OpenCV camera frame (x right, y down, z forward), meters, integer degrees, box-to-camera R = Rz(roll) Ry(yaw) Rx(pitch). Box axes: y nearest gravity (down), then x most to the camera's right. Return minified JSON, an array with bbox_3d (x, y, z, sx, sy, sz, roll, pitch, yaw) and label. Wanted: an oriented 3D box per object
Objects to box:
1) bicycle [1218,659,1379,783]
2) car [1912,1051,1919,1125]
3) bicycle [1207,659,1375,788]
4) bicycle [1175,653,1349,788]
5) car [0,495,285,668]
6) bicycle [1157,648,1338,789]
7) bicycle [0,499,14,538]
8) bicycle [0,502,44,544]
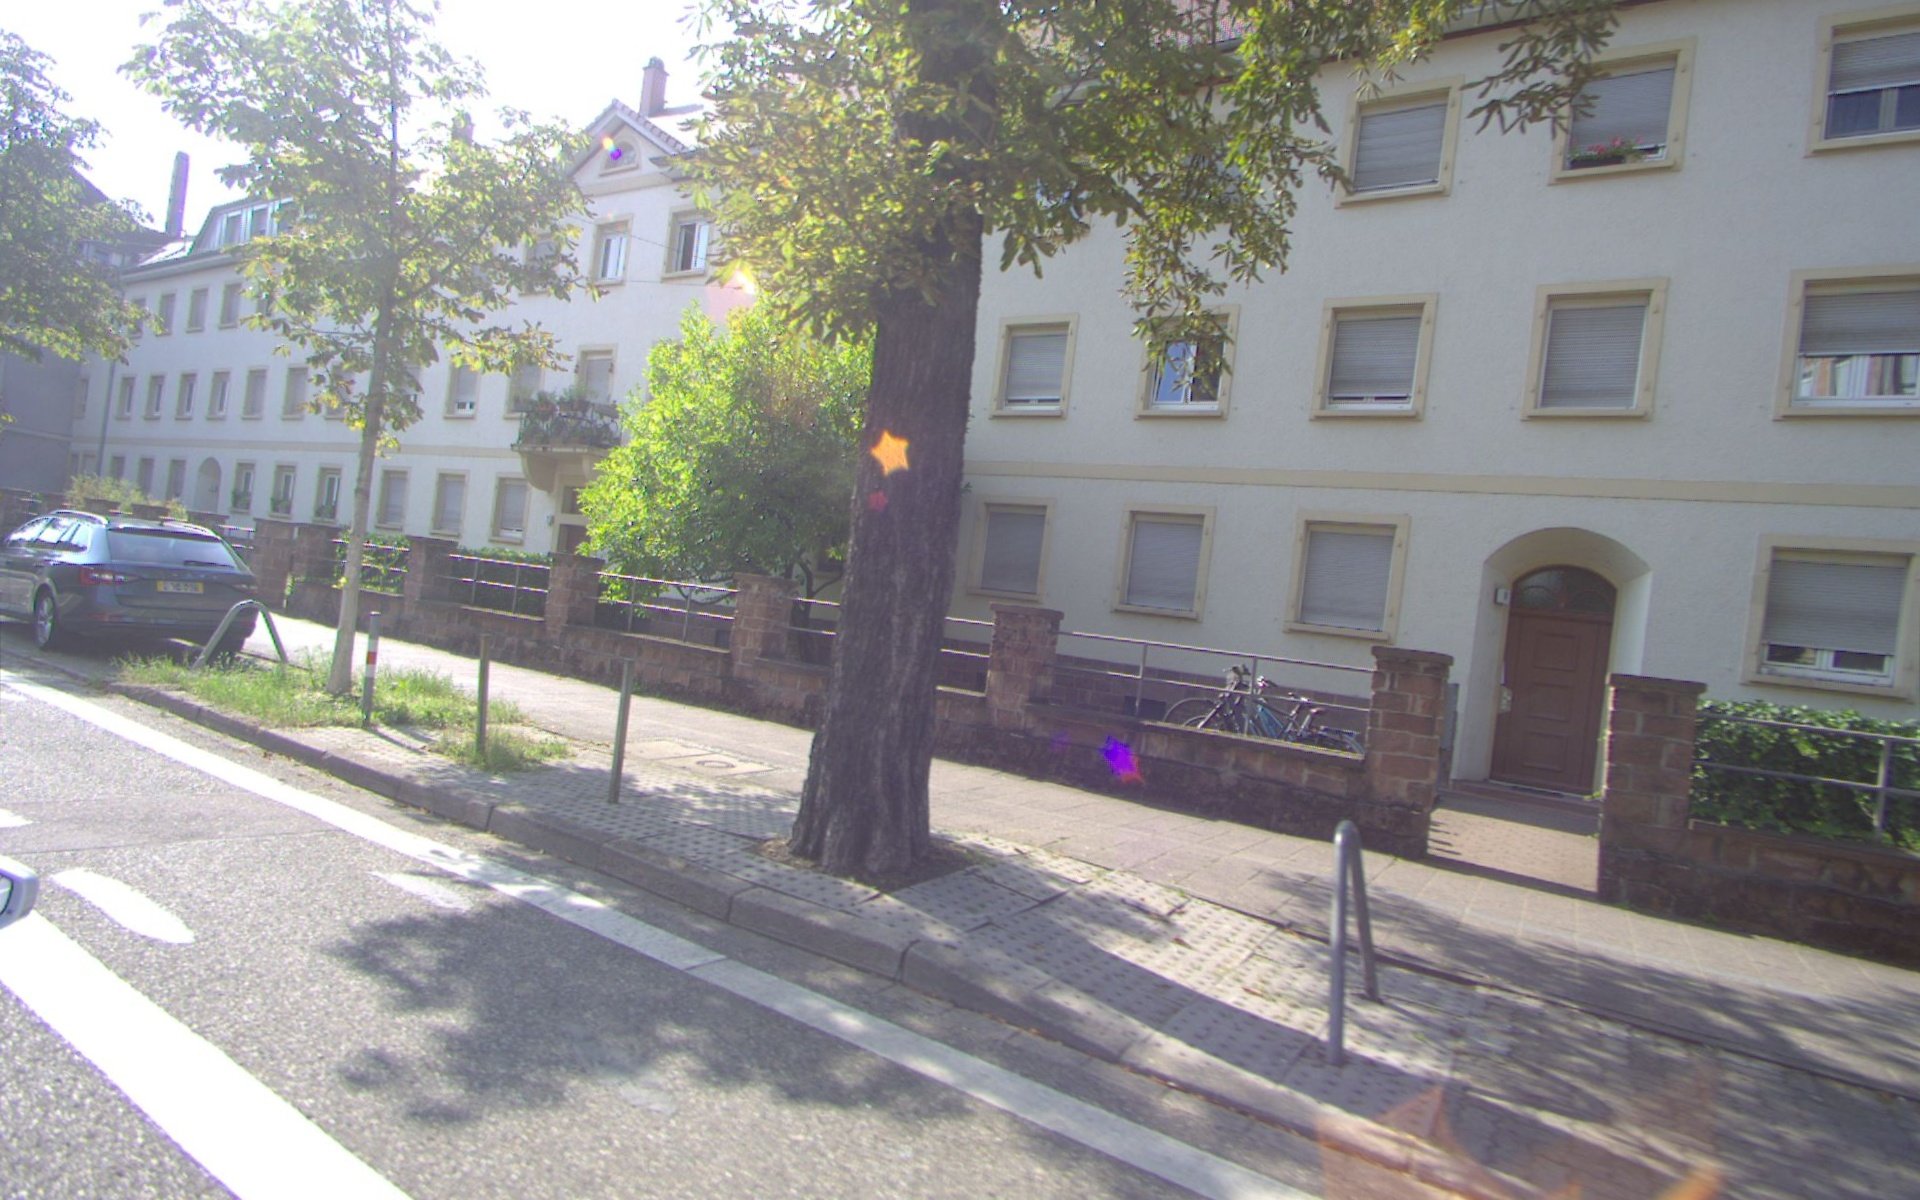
[{"bbox_3d":[3.574,1.253,10.675,1.464,1.073,0.416,7,0,33],"label":"bicycle"},{"bbox_3d":[5.089,1.413,2.155,4.028,1.521,1.690,6,1,32],"label":"car"},{"bbox_3d":[3.361,1.230,10.263,1.464,1.073,0.416,7,0,33],"label":"bicycle"},{"bbox_3d":[2.918,1.141,9.782,1.464,1.073,0.416,7,0,33],"label":"bicycle"},{"bbox_3d":[-10.142,-0.294,11.960,4.642,1.580,1.745,6,-1,33],"label":"car"},{"bbox_3d":[2.669,1.080,9.406,1.464,1.073,0.416,7,0,33],"label":"bicycle"},{"bbox_3d":[-29.406,-2.523,30.491,1.966,1.117,0.425,7,0,30],"label":"bicycle"},{"bbox_3d":[-29.073,-2.389,31.118,1.966,1.117,0.425,7,0,30],"label":"bicycle"}]
